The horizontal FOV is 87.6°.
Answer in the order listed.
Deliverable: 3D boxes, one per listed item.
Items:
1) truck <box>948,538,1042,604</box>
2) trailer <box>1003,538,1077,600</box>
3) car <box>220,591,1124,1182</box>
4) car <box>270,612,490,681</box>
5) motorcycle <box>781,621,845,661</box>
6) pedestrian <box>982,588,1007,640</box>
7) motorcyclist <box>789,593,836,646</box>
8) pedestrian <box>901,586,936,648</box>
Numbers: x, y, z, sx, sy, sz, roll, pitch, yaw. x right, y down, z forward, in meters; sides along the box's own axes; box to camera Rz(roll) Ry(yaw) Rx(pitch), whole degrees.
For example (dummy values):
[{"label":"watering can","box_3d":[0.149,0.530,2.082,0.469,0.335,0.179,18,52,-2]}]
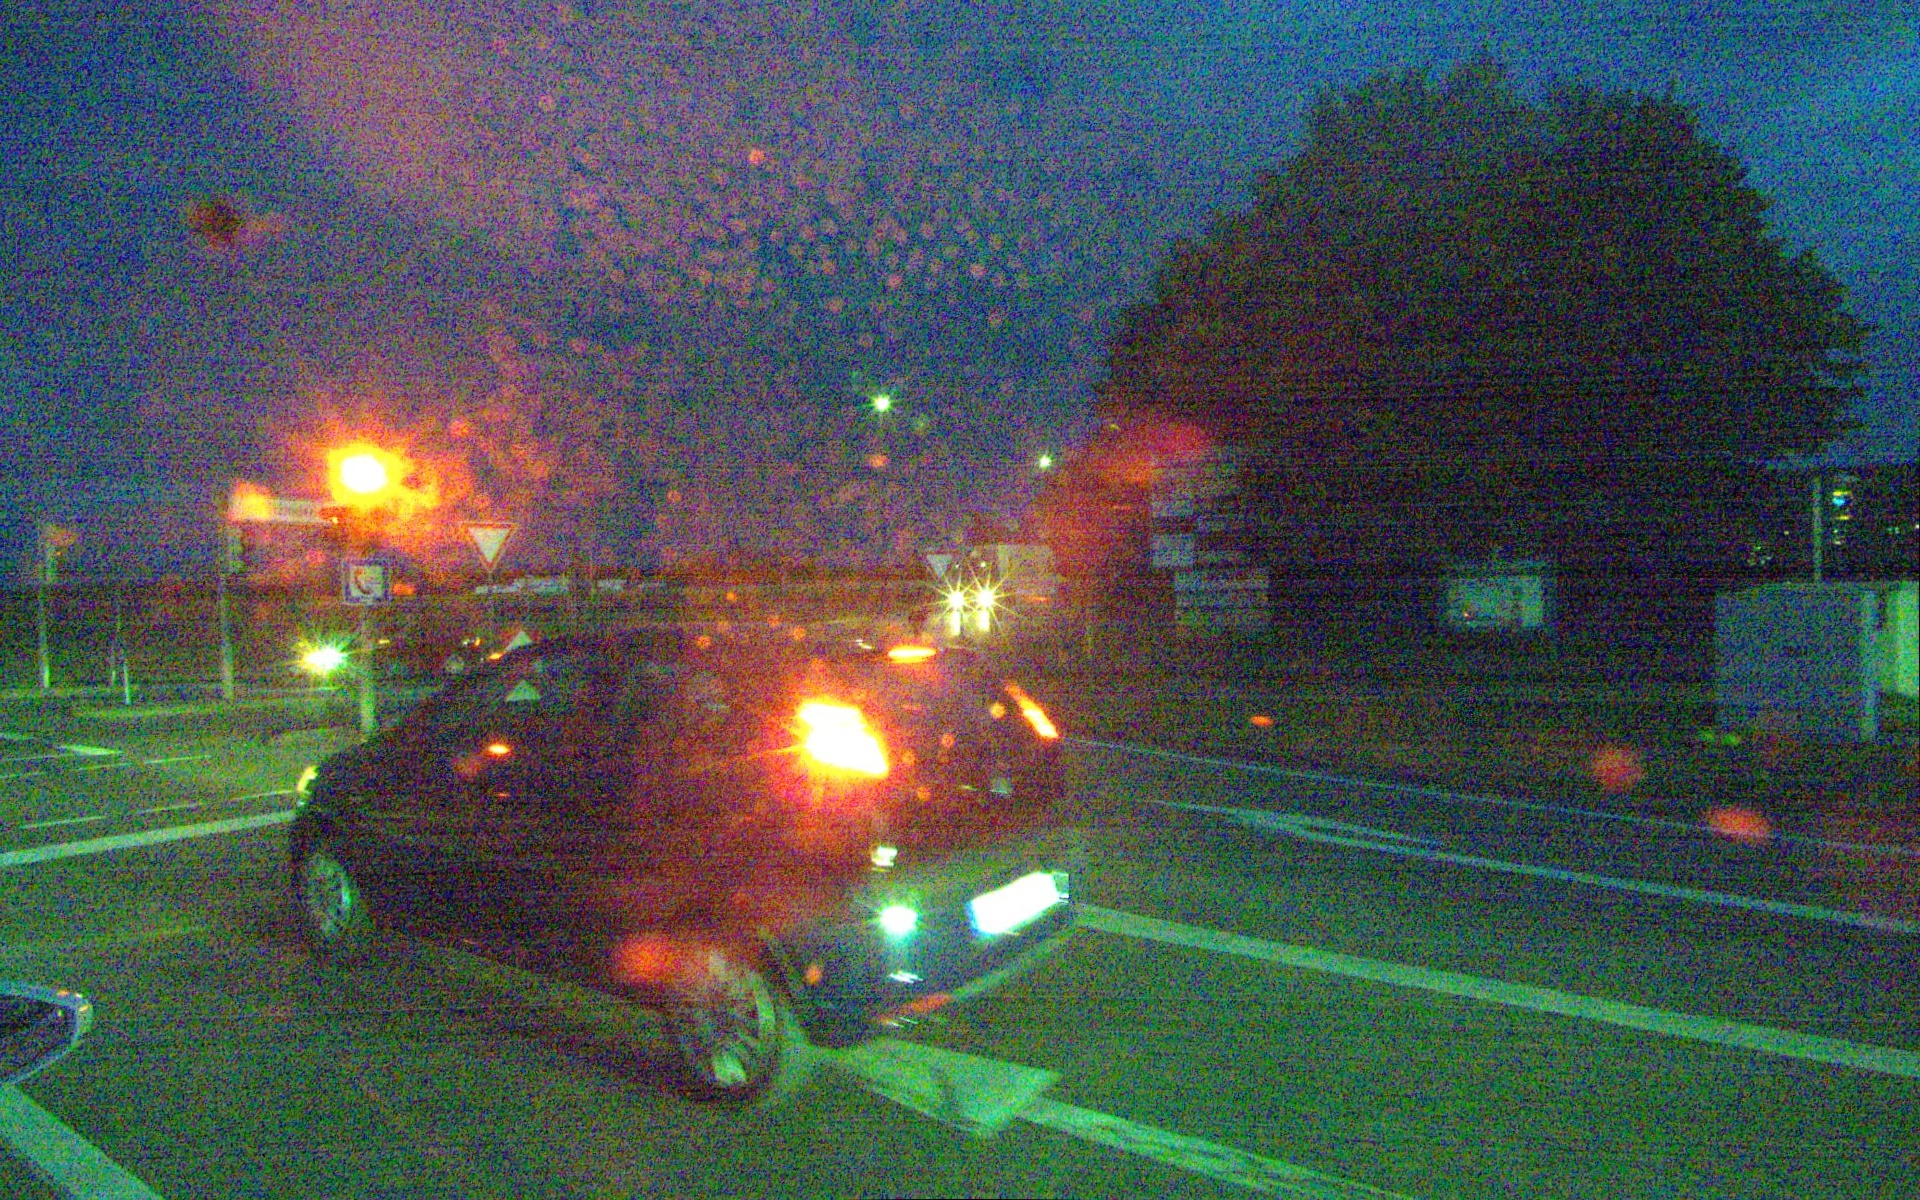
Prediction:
[{"label":"truck","box_3d":[2.504,-1.846,66.853,2.875,4.033,10.042,0,1,23]},{"label":"trailer","box_3d":[6.152,-2.372,75.506,2.875,4.361,9.043,-1,2,22]},{"label":"car","box_3d":[-1.474,0.788,4.445,4.049,1.540,1.666,-1,-1,34]},{"label":"car","box_3d":[-15.062,1.142,26.269,1.972,1.541,4.589,0,1,33]},{"label":"motorcycle","box_3d":[-4.495,1.235,30.834,0.964,1.113,2.504,0,0,17]},{"label":"pedestrian","box_3d":[1.292,0.524,37.588,0.860,1.925,0.660,-1,1,6]},{"label":"motorcyclist","box_3d":[-4.532,0.592,30.795,1.120,1.606,0.971,0,1,17]},{"label":"pedestrian","box_3d":[-1.287,0.520,31.137,0.861,1.859,0.731,-3,1,6]}]
